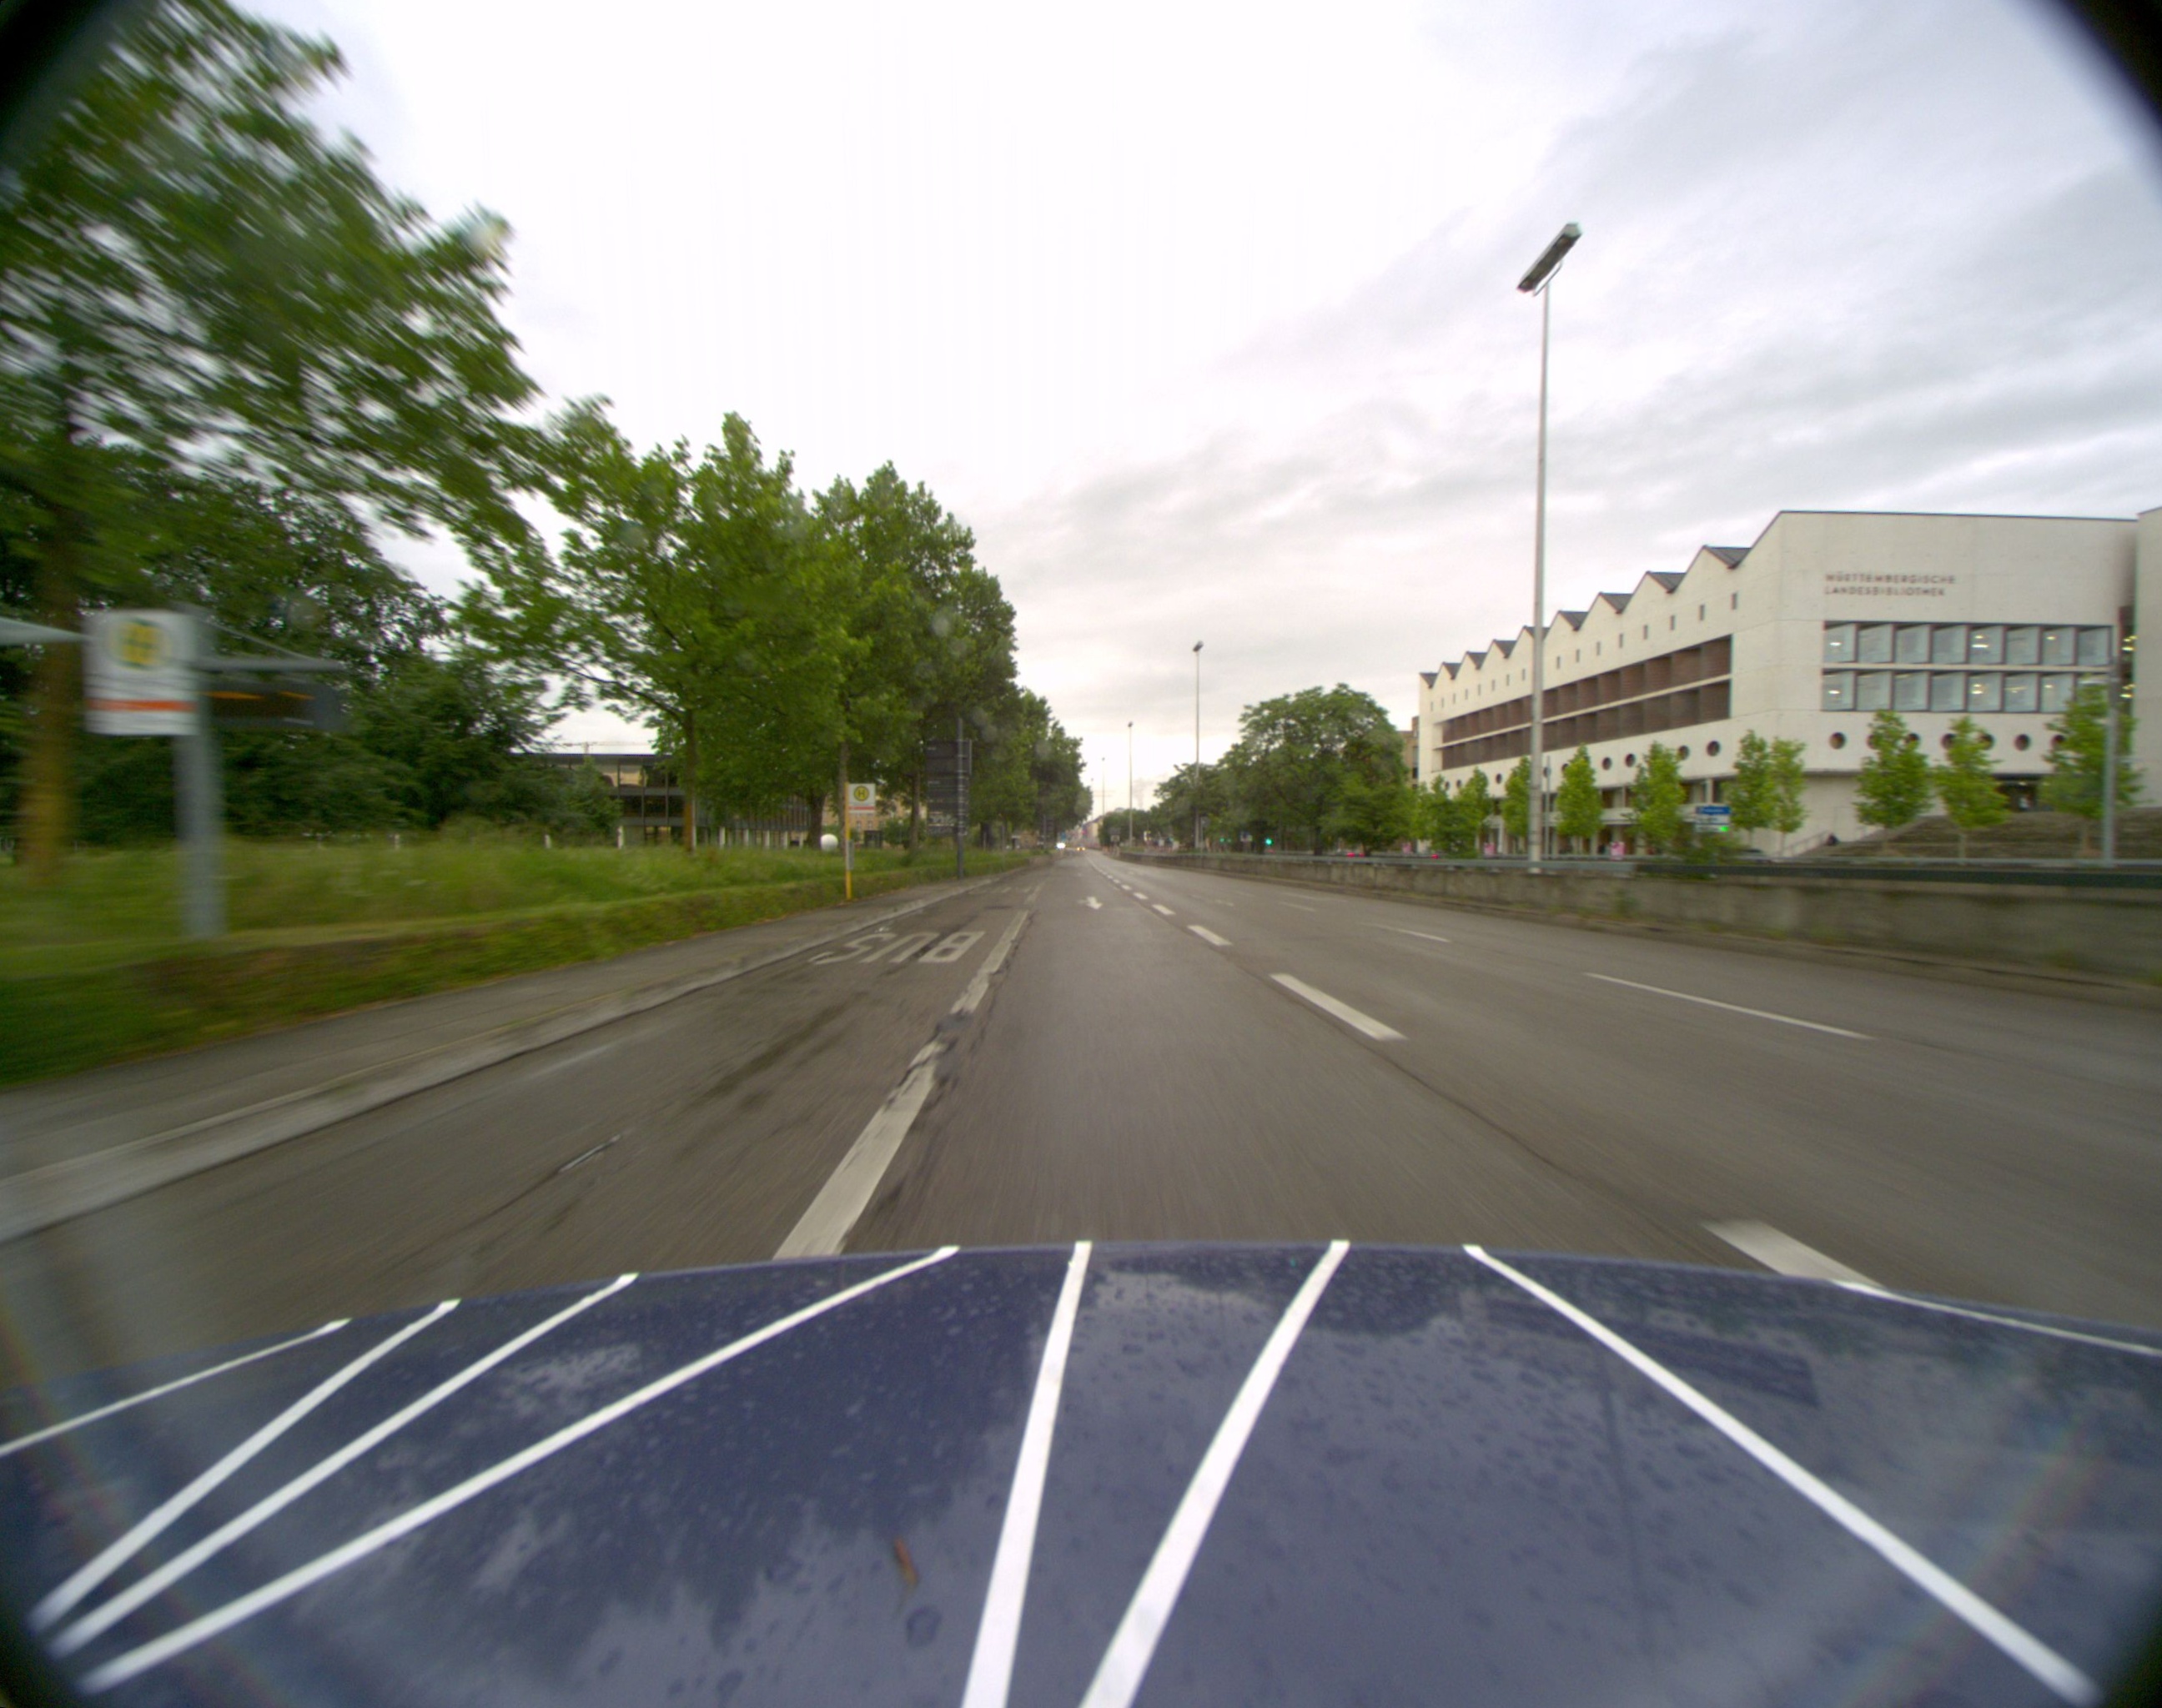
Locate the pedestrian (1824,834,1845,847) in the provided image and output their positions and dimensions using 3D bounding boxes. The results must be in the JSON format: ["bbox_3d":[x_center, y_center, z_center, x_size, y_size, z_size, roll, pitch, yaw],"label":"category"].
[{"bbox_3d":[51.987,-0.957,52.418,0.809,0.882,0.628,-1,2,-1],"label":"pedestrian"}]

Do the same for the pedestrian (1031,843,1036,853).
[{"bbox_3d":[-8.701,-1.069,138.899,0.596,1.764,0.585,-3,2,-36],"label":"pedestrian"}]

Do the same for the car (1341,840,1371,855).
[{"bbox_3d":[29.401,-0.733,81.232,1.699,1.547,3.473,-1,1,-5],"label":"car"}]

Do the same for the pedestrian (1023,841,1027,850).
[{"bbox_3d":[-9.973,-1.553,135.828,0.671,1.656,0.587,0,2,-17],"label":"pedestrian"}]

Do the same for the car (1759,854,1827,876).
[{"bbox_3d":[32.459,0.481,34.692,0.974,0.971,2.197,-1,0,-4],"label":"car"}]

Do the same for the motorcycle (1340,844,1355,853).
[{"bbox_3d":[36.312,-0.740,103.569,1.817,1.175,0.606,-2,2,-15],"label":"motorcycle"}]

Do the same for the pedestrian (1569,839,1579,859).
[{"bbox_3d":[46.322,-0.509,71.402,0.738,1.848,0.703,0,3,41],"label":"pedestrian"}]

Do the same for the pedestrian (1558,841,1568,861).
[{"bbox_3d":[45.666,-0.312,71.981,0.738,1.848,0.703,0,3,41],"label":"pedestrian"}]

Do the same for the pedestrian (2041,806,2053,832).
[{"bbox_3d":[58.770,-2.131,46.233,0.312,1.564,0.315,-1,2,-2],"label":"pedestrian"}]

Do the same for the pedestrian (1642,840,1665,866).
[{"bbox_3d":[41.857,-0.084,55.527,1.089,1.856,0.829,-2,2,-9],"label":"pedestrian"}]

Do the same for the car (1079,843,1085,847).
[{"bbox_3d":[0.146,-2.430,206.120,1.517,1.138,2.760,-1,1,2],"label":"car"}]
